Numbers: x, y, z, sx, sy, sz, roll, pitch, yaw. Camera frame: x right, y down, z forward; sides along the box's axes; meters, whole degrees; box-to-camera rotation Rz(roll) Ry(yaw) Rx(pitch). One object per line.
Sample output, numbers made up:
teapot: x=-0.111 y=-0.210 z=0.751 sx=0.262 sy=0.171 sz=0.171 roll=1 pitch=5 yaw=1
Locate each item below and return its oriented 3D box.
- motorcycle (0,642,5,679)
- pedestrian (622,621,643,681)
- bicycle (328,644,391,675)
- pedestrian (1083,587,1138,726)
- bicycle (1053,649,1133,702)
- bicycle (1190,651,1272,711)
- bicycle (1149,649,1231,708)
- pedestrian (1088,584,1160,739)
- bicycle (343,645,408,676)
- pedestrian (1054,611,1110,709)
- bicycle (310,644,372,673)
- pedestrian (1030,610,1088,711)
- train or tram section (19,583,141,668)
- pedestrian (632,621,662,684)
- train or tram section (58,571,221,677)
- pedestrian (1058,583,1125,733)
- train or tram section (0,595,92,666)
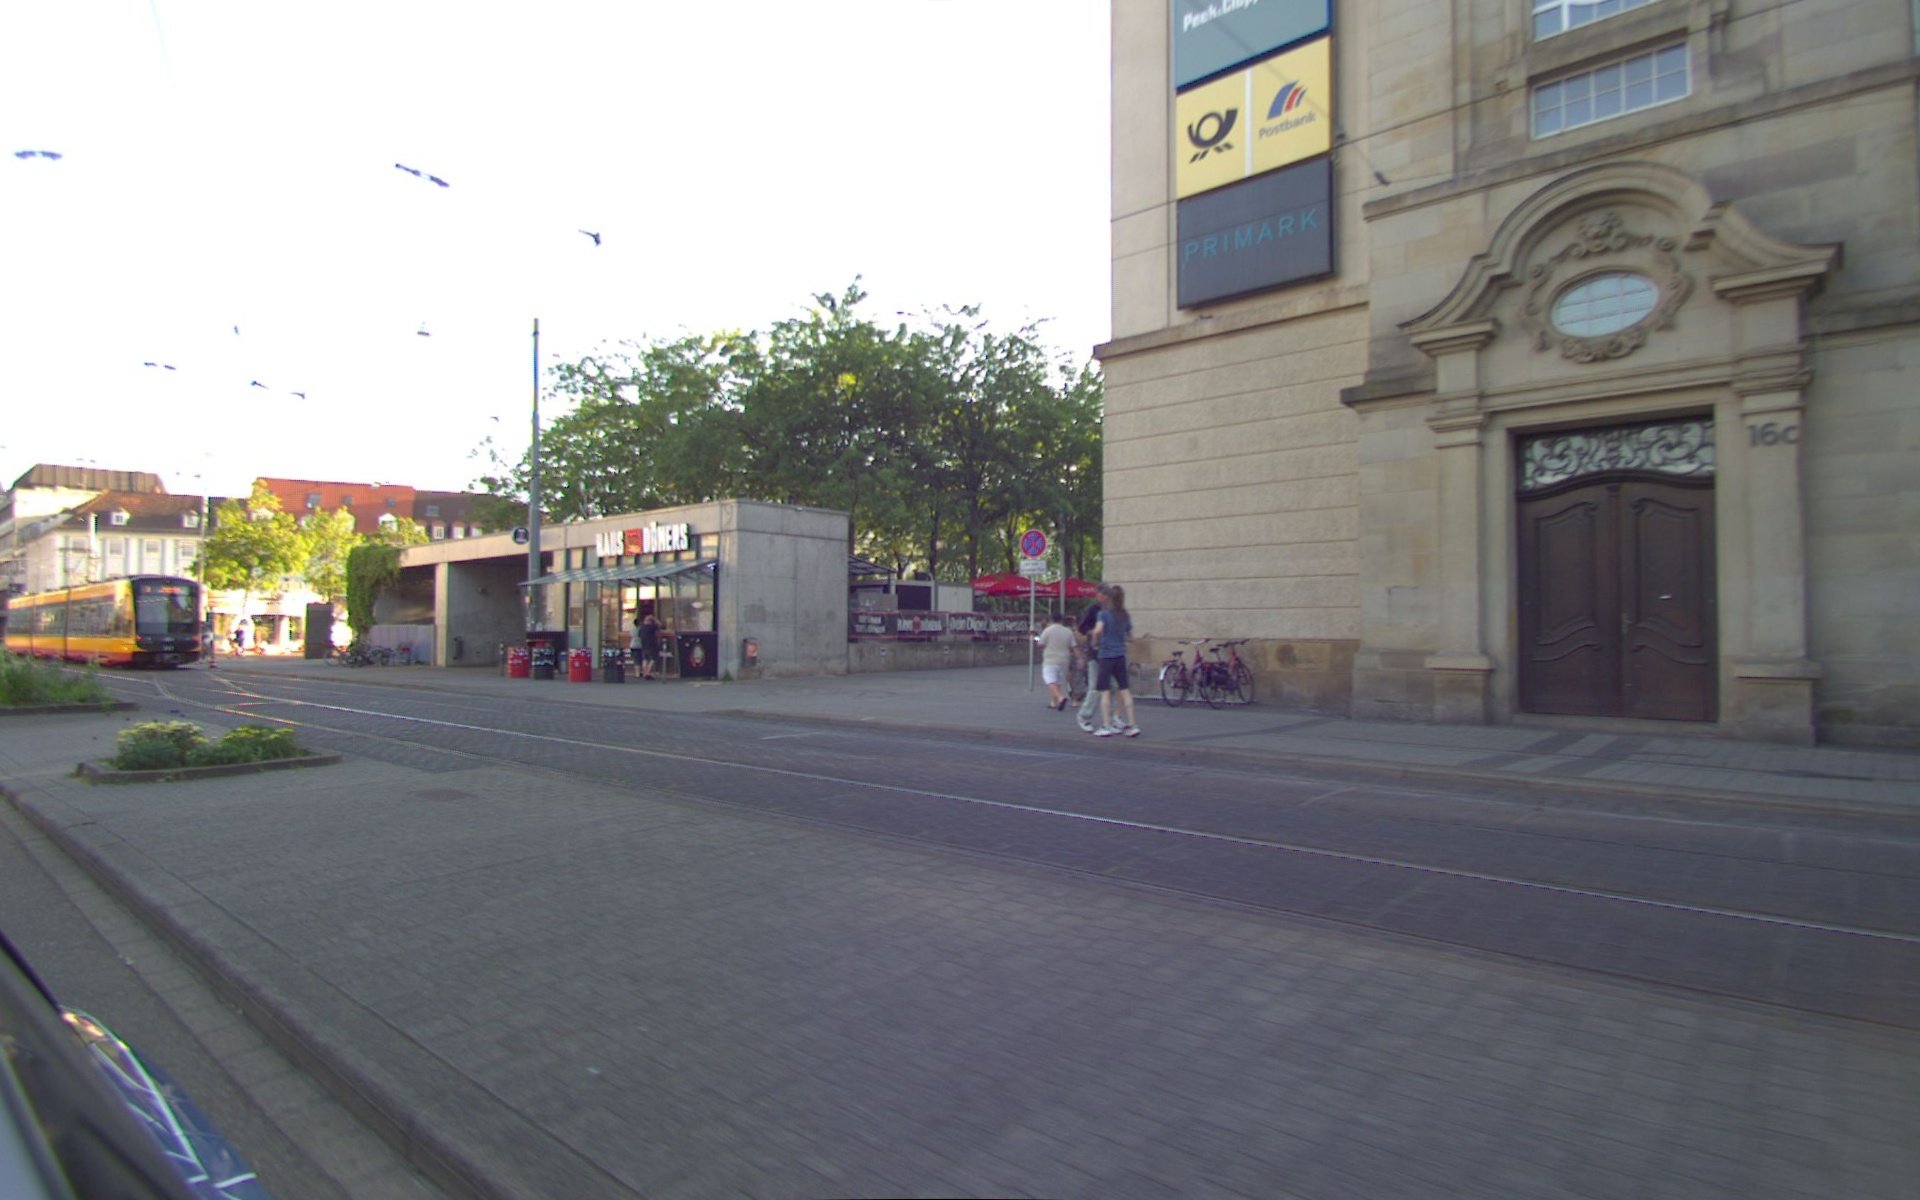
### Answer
motorcycle: x=-32.830 y=2.040 z=33.379 sx=0.800 sy=1.247 sz=1.767 roll=-1 pitch=-1 yaw=20
pedestrian: x=-9.192 y=1.433 z=28.384 sx=0.400 sy=1.665 sz=0.389 roll=-1 pitch=-1 yaw=35
bicycle: x=-24.243 y=2.387 z=40.889 sx=0.692 sy=1.168 sz=2.103 roll=-2 pitch=-3 yaw=42
pedestrian: x=1.963 y=0.723 z=13.155 sx=0.673 sy=1.750 sz=0.674 roll=0 pitch=-3 yaw=11
bicycle: x=2.492 y=1.377 z=18.811 sx=0.634 sy=0.875 sz=1.817 roll=-1 pitch=-1 yaw=39
bicycle: x=4.562 y=1.322 z=16.959 sx=0.634 sy=0.875 sz=1.817 roll=-1 pitch=-1 yaw=39
bicycle: x=3.975 y=1.324 z=17.385 sx=0.634 sy=0.875 sz=1.817 roll=-1 pitch=-1 yaw=39
pedestrian: x=1.906 y=0.713 z=11.778 sx=0.669 sy=1.750 sz=0.484 roll=2 pitch=-3 yaw=-20
bicycle: x=-22.993 y=2.361 z=39.860 sx=0.692 sy=1.168 sz=2.103 roll=-2 pitch=-3 yaw=42
pedestrian: x=2.014 y=0.976 z=16.748 sx=0.679 sy=1.574 sz=0.653 roll=-2 pitch=-2 yaw=37
bicycle: x=-25.635 y=2.415 z=41.933 sx=0.692 sy=1.168 sz=2.103 roll=-2 pitch=-3 yaw=42
pedestrian: x=1.585 y=0.955 z=16.194 sx=0.679 sy=1.574 sz=0.653 roll=-2 pitch=-2 yaw=37
train or tram section: x=-43.317 y=1.324 z=49.599 sx=11.976 sy=3.714 sz=2.865 roll=-2 pitch=-3 yaw=41
pedestrian: x=-8.458 y=1.412 z=27.316 sx=0.551 sy=1.665 sz=0.556 roll=-1 pitch=-1 yaw=35
train or tram section: x=-33.692 y=1.065 z=41.217 sx=13.473 sy=3.714 sz=2.865 roll=-2 pitch=-3 yaw=41
pedestrian: x=1.596 y=0.697 z=12.285 sx=0.593 sy=1.750 sz=0.643 roll=-2 pitch=-4 yaw=32
train or tram section: x=-51.902 y=1.764 z=57.142 sx=10.779 sy=3.714 sz=2.865 roll=-2 pitch=-3 yaw=41
